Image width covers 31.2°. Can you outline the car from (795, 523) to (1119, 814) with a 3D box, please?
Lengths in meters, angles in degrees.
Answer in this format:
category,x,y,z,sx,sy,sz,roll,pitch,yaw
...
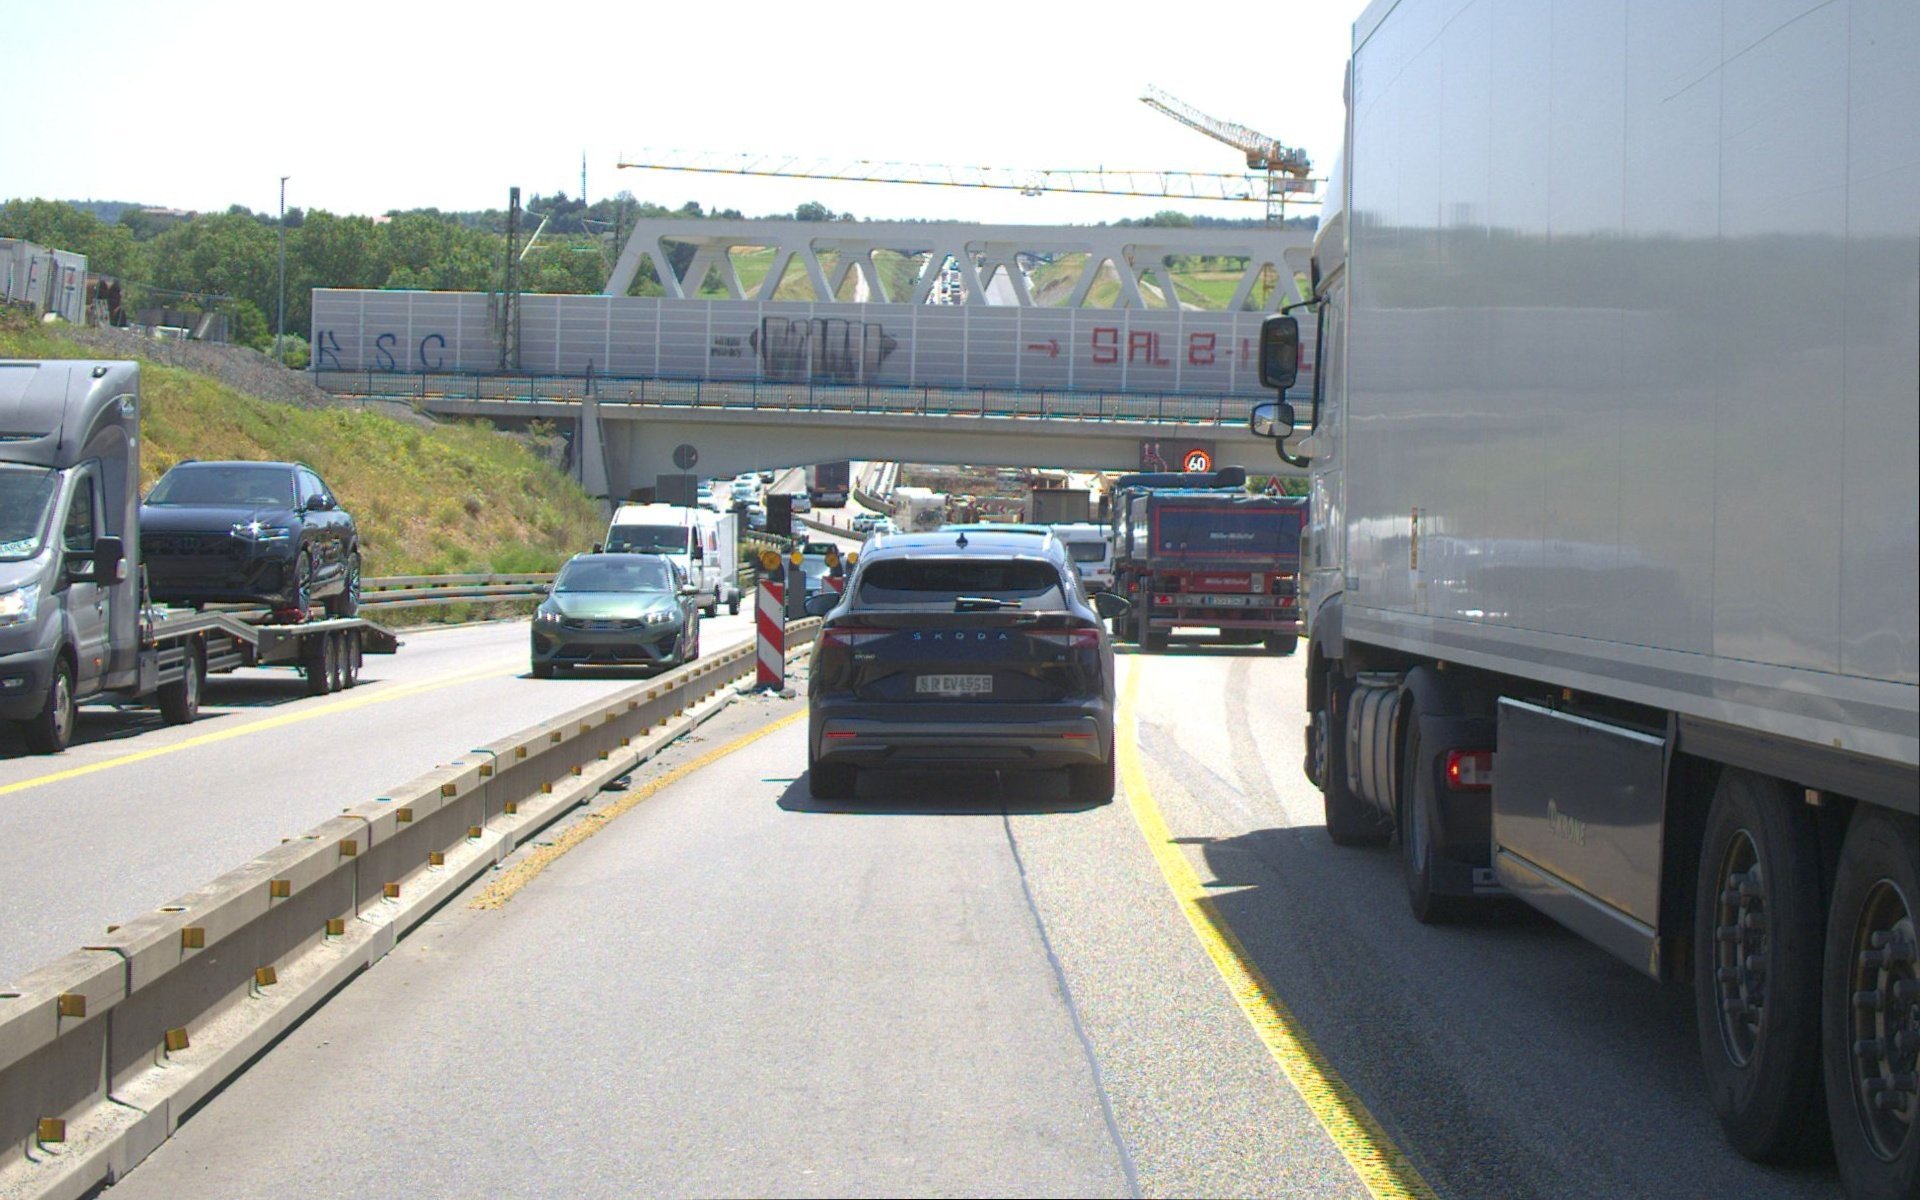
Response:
category,x,y,z,sx,sy,sz,roll,pitch,yaw
car,-0.045,0.365,21.058,1.800,1.615,3.298,1,1,-1

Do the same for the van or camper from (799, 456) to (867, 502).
category,x,y,z,sx,sy,sz,roll,pitch,yaw
van or camper,-9.752,-9.237,262.926,3.942,3.408,8.409,1,2,-11

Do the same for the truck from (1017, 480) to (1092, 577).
category,x,y,z,sx,sy,sz,roll,pitch,yaw
truck,4.324,-3.288,158.803,3.176,4.303,9.258,1,1,0

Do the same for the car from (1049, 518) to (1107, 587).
category,x,y,z,sx,sy,sz,roll,pitch,yaw
car,4.063,-1.649,118.590,1.661,2.262,3.797,2,1,-2

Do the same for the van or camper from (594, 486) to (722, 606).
category,x,y,z,sx,sy,sz,roll,pitch,yaw
van or camper,-6.454,-1.153,73.994,2.216,2.472,4.750,1,1,1

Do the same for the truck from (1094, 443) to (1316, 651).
category,x,y,z,sx,sy,sz,roll,pitch,yaw
truck,3.981,-0.932,58.781,2.814,3.124,12.838,1,1,0

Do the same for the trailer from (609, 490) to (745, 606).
category,x,y,z,sx,sy,sz,roll,pitch,yaw
trailer,-6.362,-1.173,78.419,2.216,2.472,8.527,1,1,1

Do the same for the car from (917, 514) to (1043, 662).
category,x,y,z,sx,sy,sz,roll,pitch,yaw
car,0.286,-0.189,44.536,1.475,1.789,3.297,2,1,2

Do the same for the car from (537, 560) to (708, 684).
category,x,y,z,sx,sy,sz,roll,pitch,yaw
car,-4.058,0.233,41.855,1.666,1.423,4.000,0,1,0

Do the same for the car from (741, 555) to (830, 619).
category,x,y,z,sx,sy,sz,roll,pitch,yaw
car,-3.587,-0.287,71.202,1.610,1.271,3.167,1,1,1

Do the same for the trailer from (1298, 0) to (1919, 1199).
category,x,y,z,sx,sy,sz,roll,pitch,yaw
trailer,3.030,-0.585,9.174,2.801,4.044,14.117,1,1,0

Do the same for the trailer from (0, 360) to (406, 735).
category,x,y,z,sx,sy,sz,roll,pitch,yaw
trailer,-7.452,-0.522,33.012,2.268,2.872,13.043,1,1,-1

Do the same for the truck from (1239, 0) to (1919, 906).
category,x,y,z,sx,sy,sz,roll,pitch,yaw
truck,3.013,-0.760,17.212,2.776,4.044,4.905,1,1,0

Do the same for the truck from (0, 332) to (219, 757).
category,x,y,z,sx,sy,sz,roll,pitch,yaw
truck,-7.397,-0.435,26.202,2.268,2.872,5.851,1,1,-1

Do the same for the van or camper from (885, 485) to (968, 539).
category,x,y,z,sx,sy,sz,roll,pitch,yaw
van or camper,-2.272,-5.853,228.109,3.942,3.408,8.409,1,2,-11
